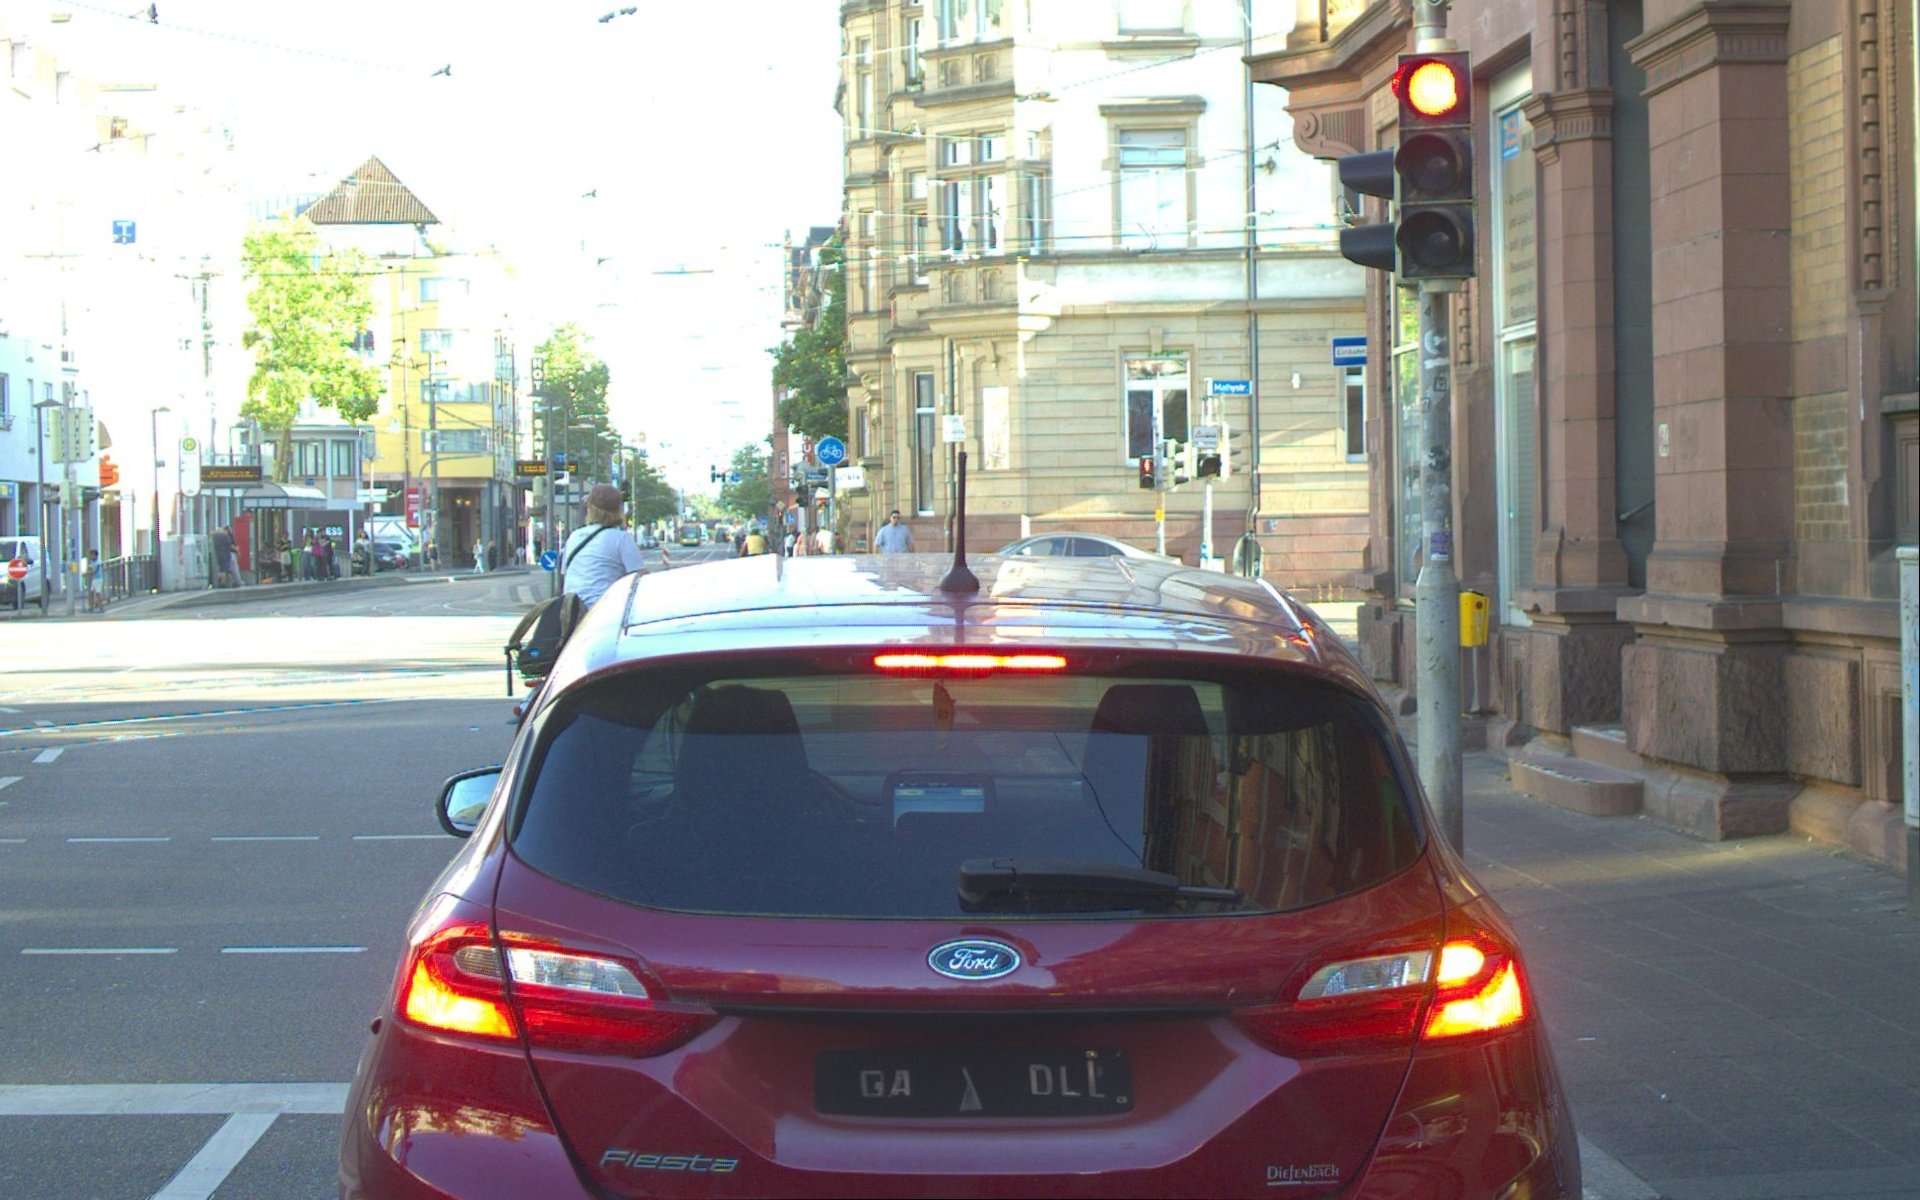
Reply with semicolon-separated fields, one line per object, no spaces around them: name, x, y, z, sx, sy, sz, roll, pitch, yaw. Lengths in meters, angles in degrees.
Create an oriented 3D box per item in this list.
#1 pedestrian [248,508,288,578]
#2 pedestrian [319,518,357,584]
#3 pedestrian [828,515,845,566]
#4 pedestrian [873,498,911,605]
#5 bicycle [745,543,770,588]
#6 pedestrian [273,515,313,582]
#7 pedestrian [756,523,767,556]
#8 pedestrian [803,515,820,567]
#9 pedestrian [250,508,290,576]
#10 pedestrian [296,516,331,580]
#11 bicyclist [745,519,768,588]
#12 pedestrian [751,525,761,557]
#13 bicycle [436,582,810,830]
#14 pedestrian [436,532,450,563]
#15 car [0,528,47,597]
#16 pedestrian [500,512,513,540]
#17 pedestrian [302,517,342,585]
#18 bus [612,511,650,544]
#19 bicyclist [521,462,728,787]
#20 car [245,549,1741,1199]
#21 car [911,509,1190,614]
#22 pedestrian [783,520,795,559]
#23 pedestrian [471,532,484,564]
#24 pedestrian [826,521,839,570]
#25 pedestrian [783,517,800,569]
pedestrian;-20.239;-1.675;100.538;0.956;2.007;1.049;-1;1;-3
pedestrian;-19.105;-1.521;105.611;1.045;2.007;0.959;-1;1;-5
pedestrian;-4.847;-2.330;134.575;0.577;2.007;0.631;-1;1;3
pedestrian;-1.294;-0.925;65.556;0.651;2.007;0.760;-1;1;-4
bicycle;-4.969;-0.846;84.368;0.526;1.085;1.486;-1;1;-1
pedestrian;-20.351;-1.569;104.912;1.045;2.007;0.959;-1;1;-5
pedestrian;-11.566;-3.515;200.450;0.577;1.880;0.631;-1;1;-3
pedestrian;-5.754;-2.275;133.311;0.577;2.007;0.631;-1;1;3
pedestrian;-20.639;-1.748;102.891;1.045;2.007;0.959;-1;1;-5
pedestrian;-20.373;-1.640;108.366;0.956;2.007;1.049;-1;1;-5
bicyclist;-4.977;-1.143;84.162;0.499;1.670;0.545;-1;1;-1
pedestrian;-12.091;-3.514;204.088;0.577;1.880;0.669;-1;1;-3
bicycle;-1.702;0.509;17.665;0.628;1.173;2.020;1;2;42
pedestrian;-25.190;-2.576;167.565;0.580;1.483;0.526;-1;1;-5
car;-24.454;-0.967;87.458;1.701;1.712;3.565;-1;1;-4
pedestrian;-25.950;-4.210;196.717;0.628;1.599;0.579;-1;1;-20
pedestrian;-19.109;-1.479;103.015;1.045;2.007;0.959;-1;1;-5
bus;-20.759;-4.579;217.194;1.925;2.007;7.138;-1;1;-2
bicyclist;-1.724;0.109;17.647;0.765;1.621;0.730;1;2;42
car;-0.123;0.658;5.998;1.754;1.461;3.946;0;1;-5
car;1.491;-0.654;57.493;4.443;1.635;1.704;-1;1;-6
pedestrian;-8.815;-3.110;177.026;0.577;2.007;0.631;-1;1;-2
pedestrian;-22.995;-2.489;163.833;0.524;1.483;0.583;-1;1;-1
pedestrian;-4.426;-1.890;119.247;0.413;1.674;0.485;-1;1;-1
pedestrian;-6.539;-2.194;133.175;0.577;2.007;0.631;-1;1;3
